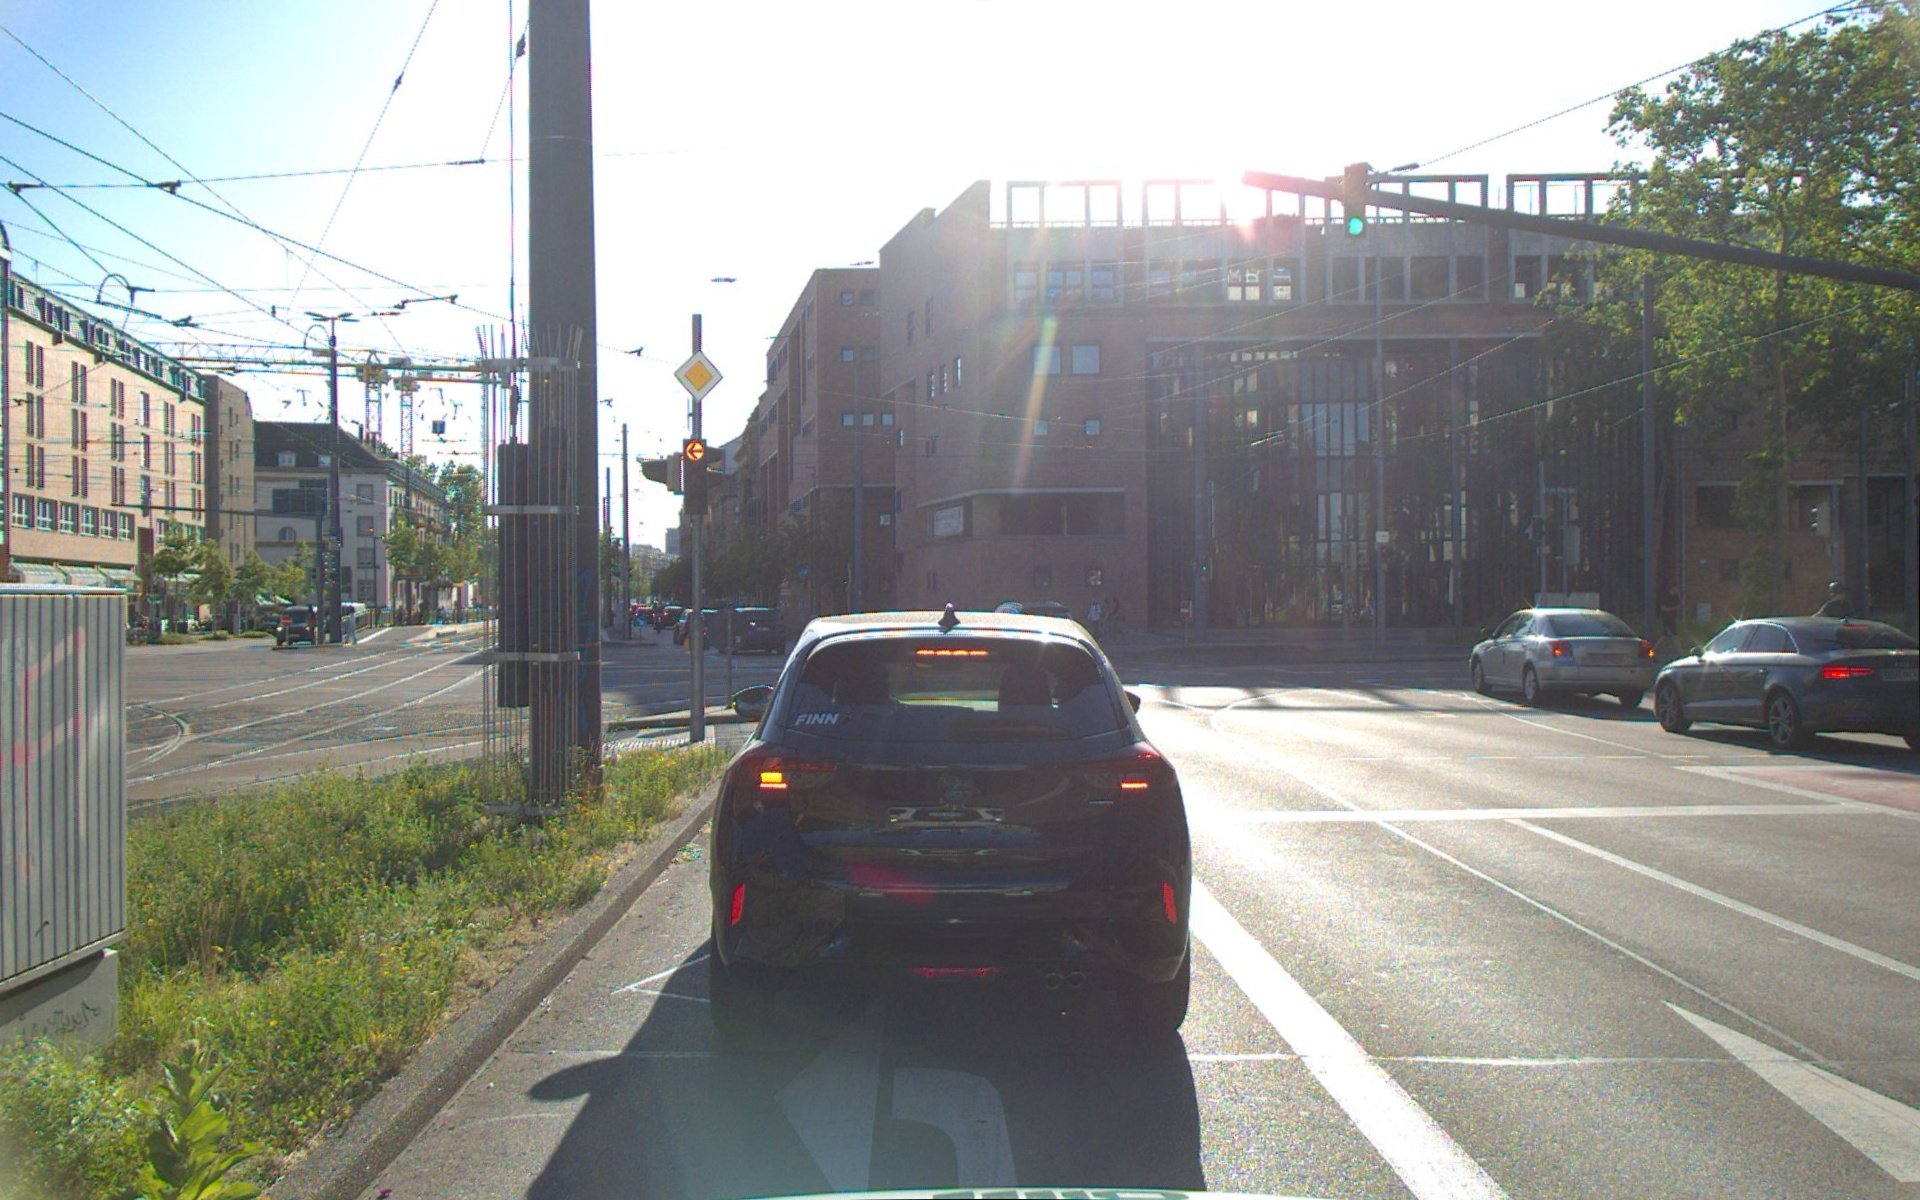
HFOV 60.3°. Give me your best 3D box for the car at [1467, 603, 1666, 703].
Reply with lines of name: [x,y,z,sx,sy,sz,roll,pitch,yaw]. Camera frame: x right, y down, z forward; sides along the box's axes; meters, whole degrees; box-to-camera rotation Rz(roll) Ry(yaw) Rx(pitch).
car: [9.742,0.799,26.944,1.714,1.456,4.490,-1,0,2]

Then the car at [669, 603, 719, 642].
car: [-10.983,0.887,68.448,1.776,1.518,4.490,-1,0,-6]

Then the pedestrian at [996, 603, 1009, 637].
pedestrian: [1.839,0.850,71.785,0.519,1.455,0.598,-1,0,-1]

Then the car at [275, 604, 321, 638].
car: [-31.207,0.977,78.023,1.717,1.531,3.861,-1,0,-18]

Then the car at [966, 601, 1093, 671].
car: [1.568,0.795,38.630,1.718,1.531,3.860,-1,0,-18]

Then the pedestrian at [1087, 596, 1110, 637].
pedestrian: [5.678,0.676,67.865,0.881,1.645,0.561,-1,0,8]

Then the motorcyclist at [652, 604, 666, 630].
motorcyclist: [-18.058,1.037,99.274,0.731,1.557,1.019,-1,0,-8]

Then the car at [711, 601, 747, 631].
car: [-11.944,0.794,85.639,1.773,1.483,3.994,1,0,-7]

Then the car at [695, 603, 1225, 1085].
car: [0.016,0.750,7.069,1.615,1.458,4.000,0,0,0]

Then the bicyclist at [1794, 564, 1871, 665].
bicyclist: [14.172,0.232,26.875,0.612,1.594,1.041,1,0,-8]

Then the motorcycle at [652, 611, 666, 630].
motorcycle: [-18.060,1.215,99.132,0.761,1.135,1.965,-1,0,-9]

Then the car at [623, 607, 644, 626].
car: [-28.607,1.434,144.878,1.706,1.680,3.988,0,0,-12]

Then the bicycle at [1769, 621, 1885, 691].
bicycle: [14.132,0.890,27.025,0.489,1.050,2.202,-1,0,-8]

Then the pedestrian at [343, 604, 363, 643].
pedestrian: [-26.107,1.001,71.164,0.729,1.669,0.765,-1,0,-14]

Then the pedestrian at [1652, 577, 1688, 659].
pedestrian: [15.746,0.394,36.686,0.692,1.789,0.560,-1,0,25]

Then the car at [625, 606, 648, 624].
car: [-25.496,1.199,130.477,1.707,1.373,3.988,0,0,-12]

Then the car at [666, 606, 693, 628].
car: [-19.942,1.175,117.683,1.774,1.483,3.992,1,0,-9]

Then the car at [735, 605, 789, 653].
car: [-6.391,0.897,53.333,1.654,1.458,4.146,-1,0,-7]

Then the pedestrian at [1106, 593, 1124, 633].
pedestrian: [6.453,0.524,68.859,0.722,1.645,0.561,-1,0,8]

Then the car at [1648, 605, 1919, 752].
car: [9.603,0.806,18.847,1.676,1.466,4.109,0,0,-3]

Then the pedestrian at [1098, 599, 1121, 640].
pedestrian: [6.083,0.770,67.125,0.881,1.645,0.561,-1,0,8]
